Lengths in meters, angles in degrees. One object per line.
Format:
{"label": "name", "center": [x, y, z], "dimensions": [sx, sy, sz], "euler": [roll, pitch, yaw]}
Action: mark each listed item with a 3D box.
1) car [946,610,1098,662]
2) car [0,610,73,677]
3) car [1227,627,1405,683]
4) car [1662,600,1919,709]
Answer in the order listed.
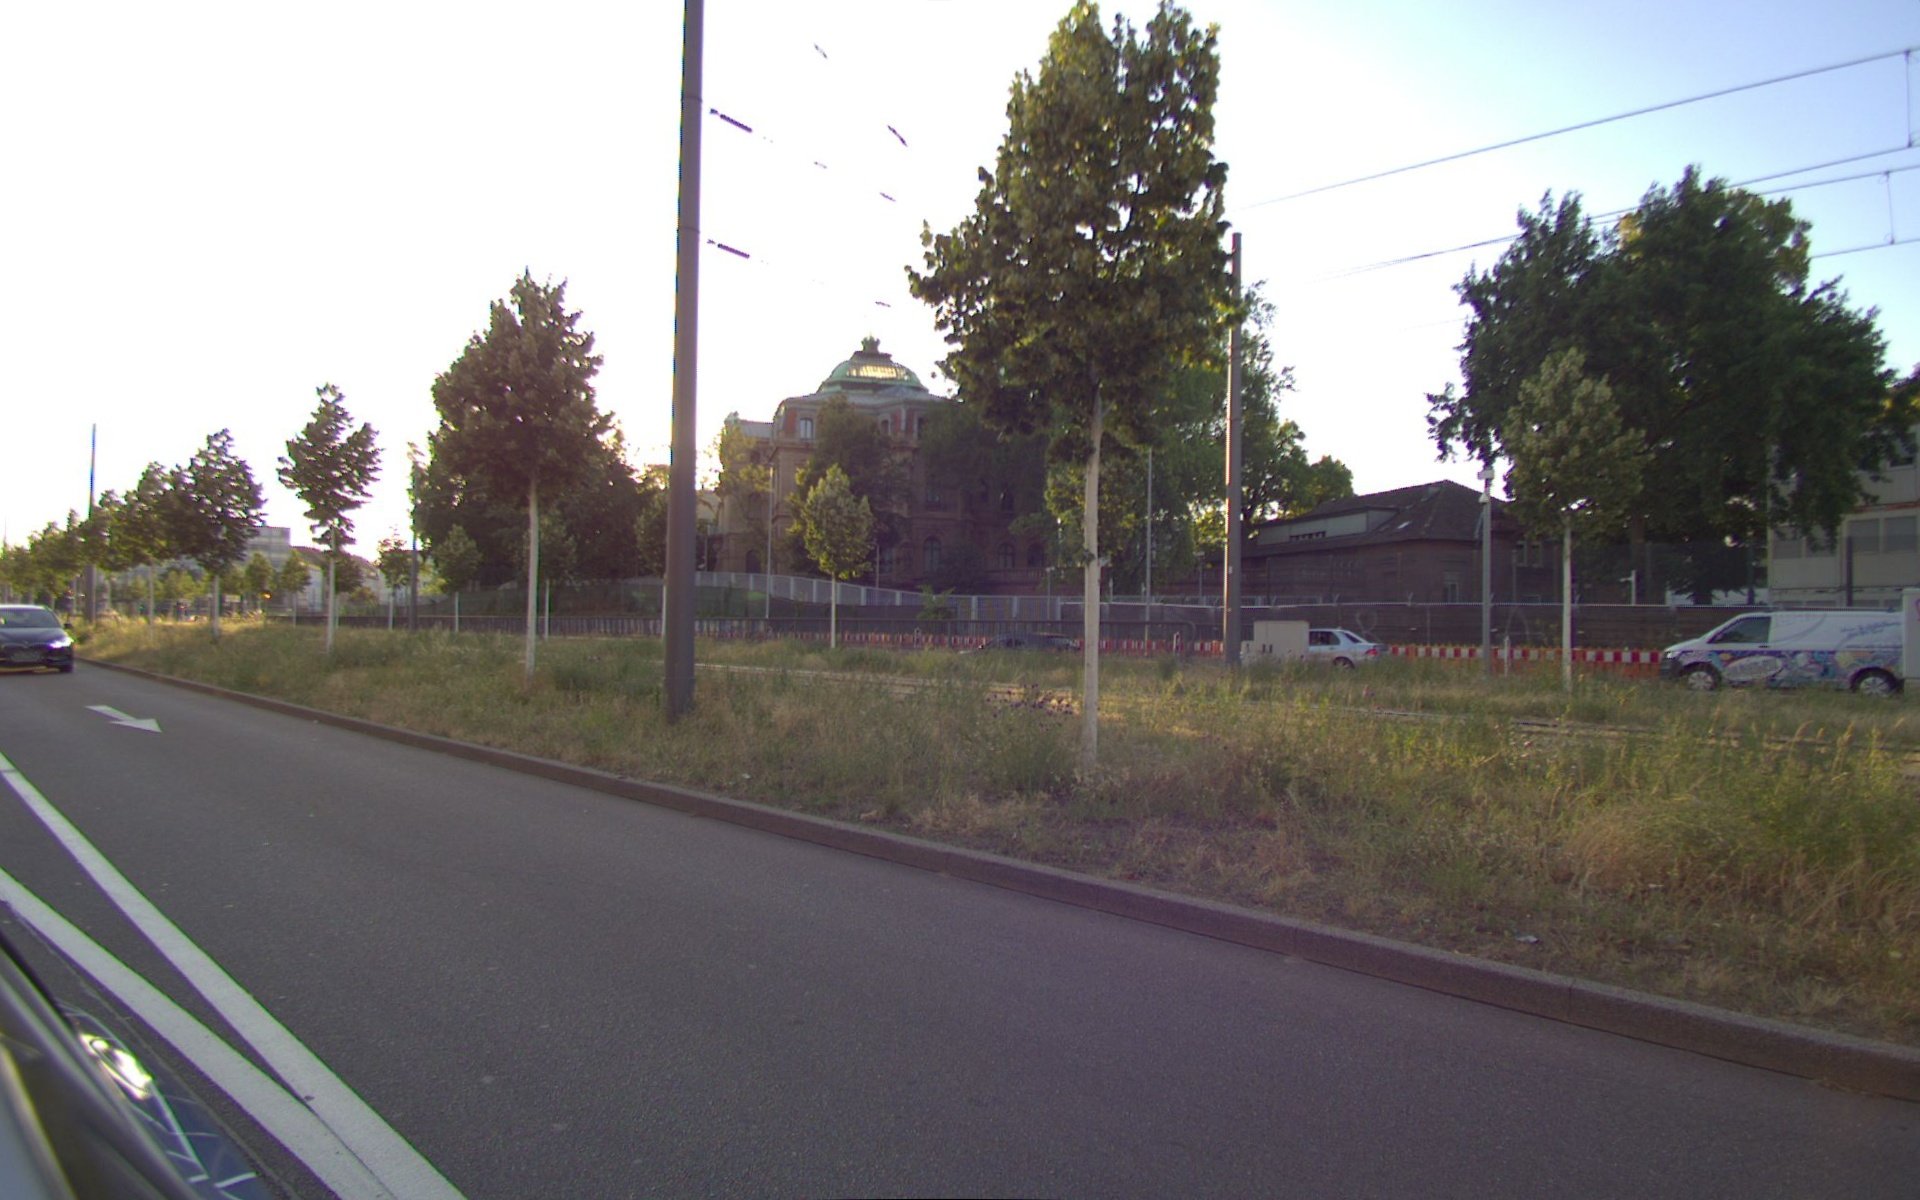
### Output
{"label": "car", "center": [1.864, 1.138, 31.606], "dimensions": [4.522, 1.492, 1.972], "euler": [-3, -2, 43]}
{"label": "car", "center": [-22.420, 1.026, 23.830], "dimensions": [4.842, 1.444, 1.834], "euler": [-3, -2, 43]}
{"label": "car", "center": [10.427, 1.599, 29.868], "dimensions": [4.521, 1.492, 1.972], "euler": [-3, -2, 42]}
{"label": "car", "center": [18.586, 1.159, 22.374], "dimensions": [4.752, 2.184, 1.971], "euler": [-3, -2, 44]}
